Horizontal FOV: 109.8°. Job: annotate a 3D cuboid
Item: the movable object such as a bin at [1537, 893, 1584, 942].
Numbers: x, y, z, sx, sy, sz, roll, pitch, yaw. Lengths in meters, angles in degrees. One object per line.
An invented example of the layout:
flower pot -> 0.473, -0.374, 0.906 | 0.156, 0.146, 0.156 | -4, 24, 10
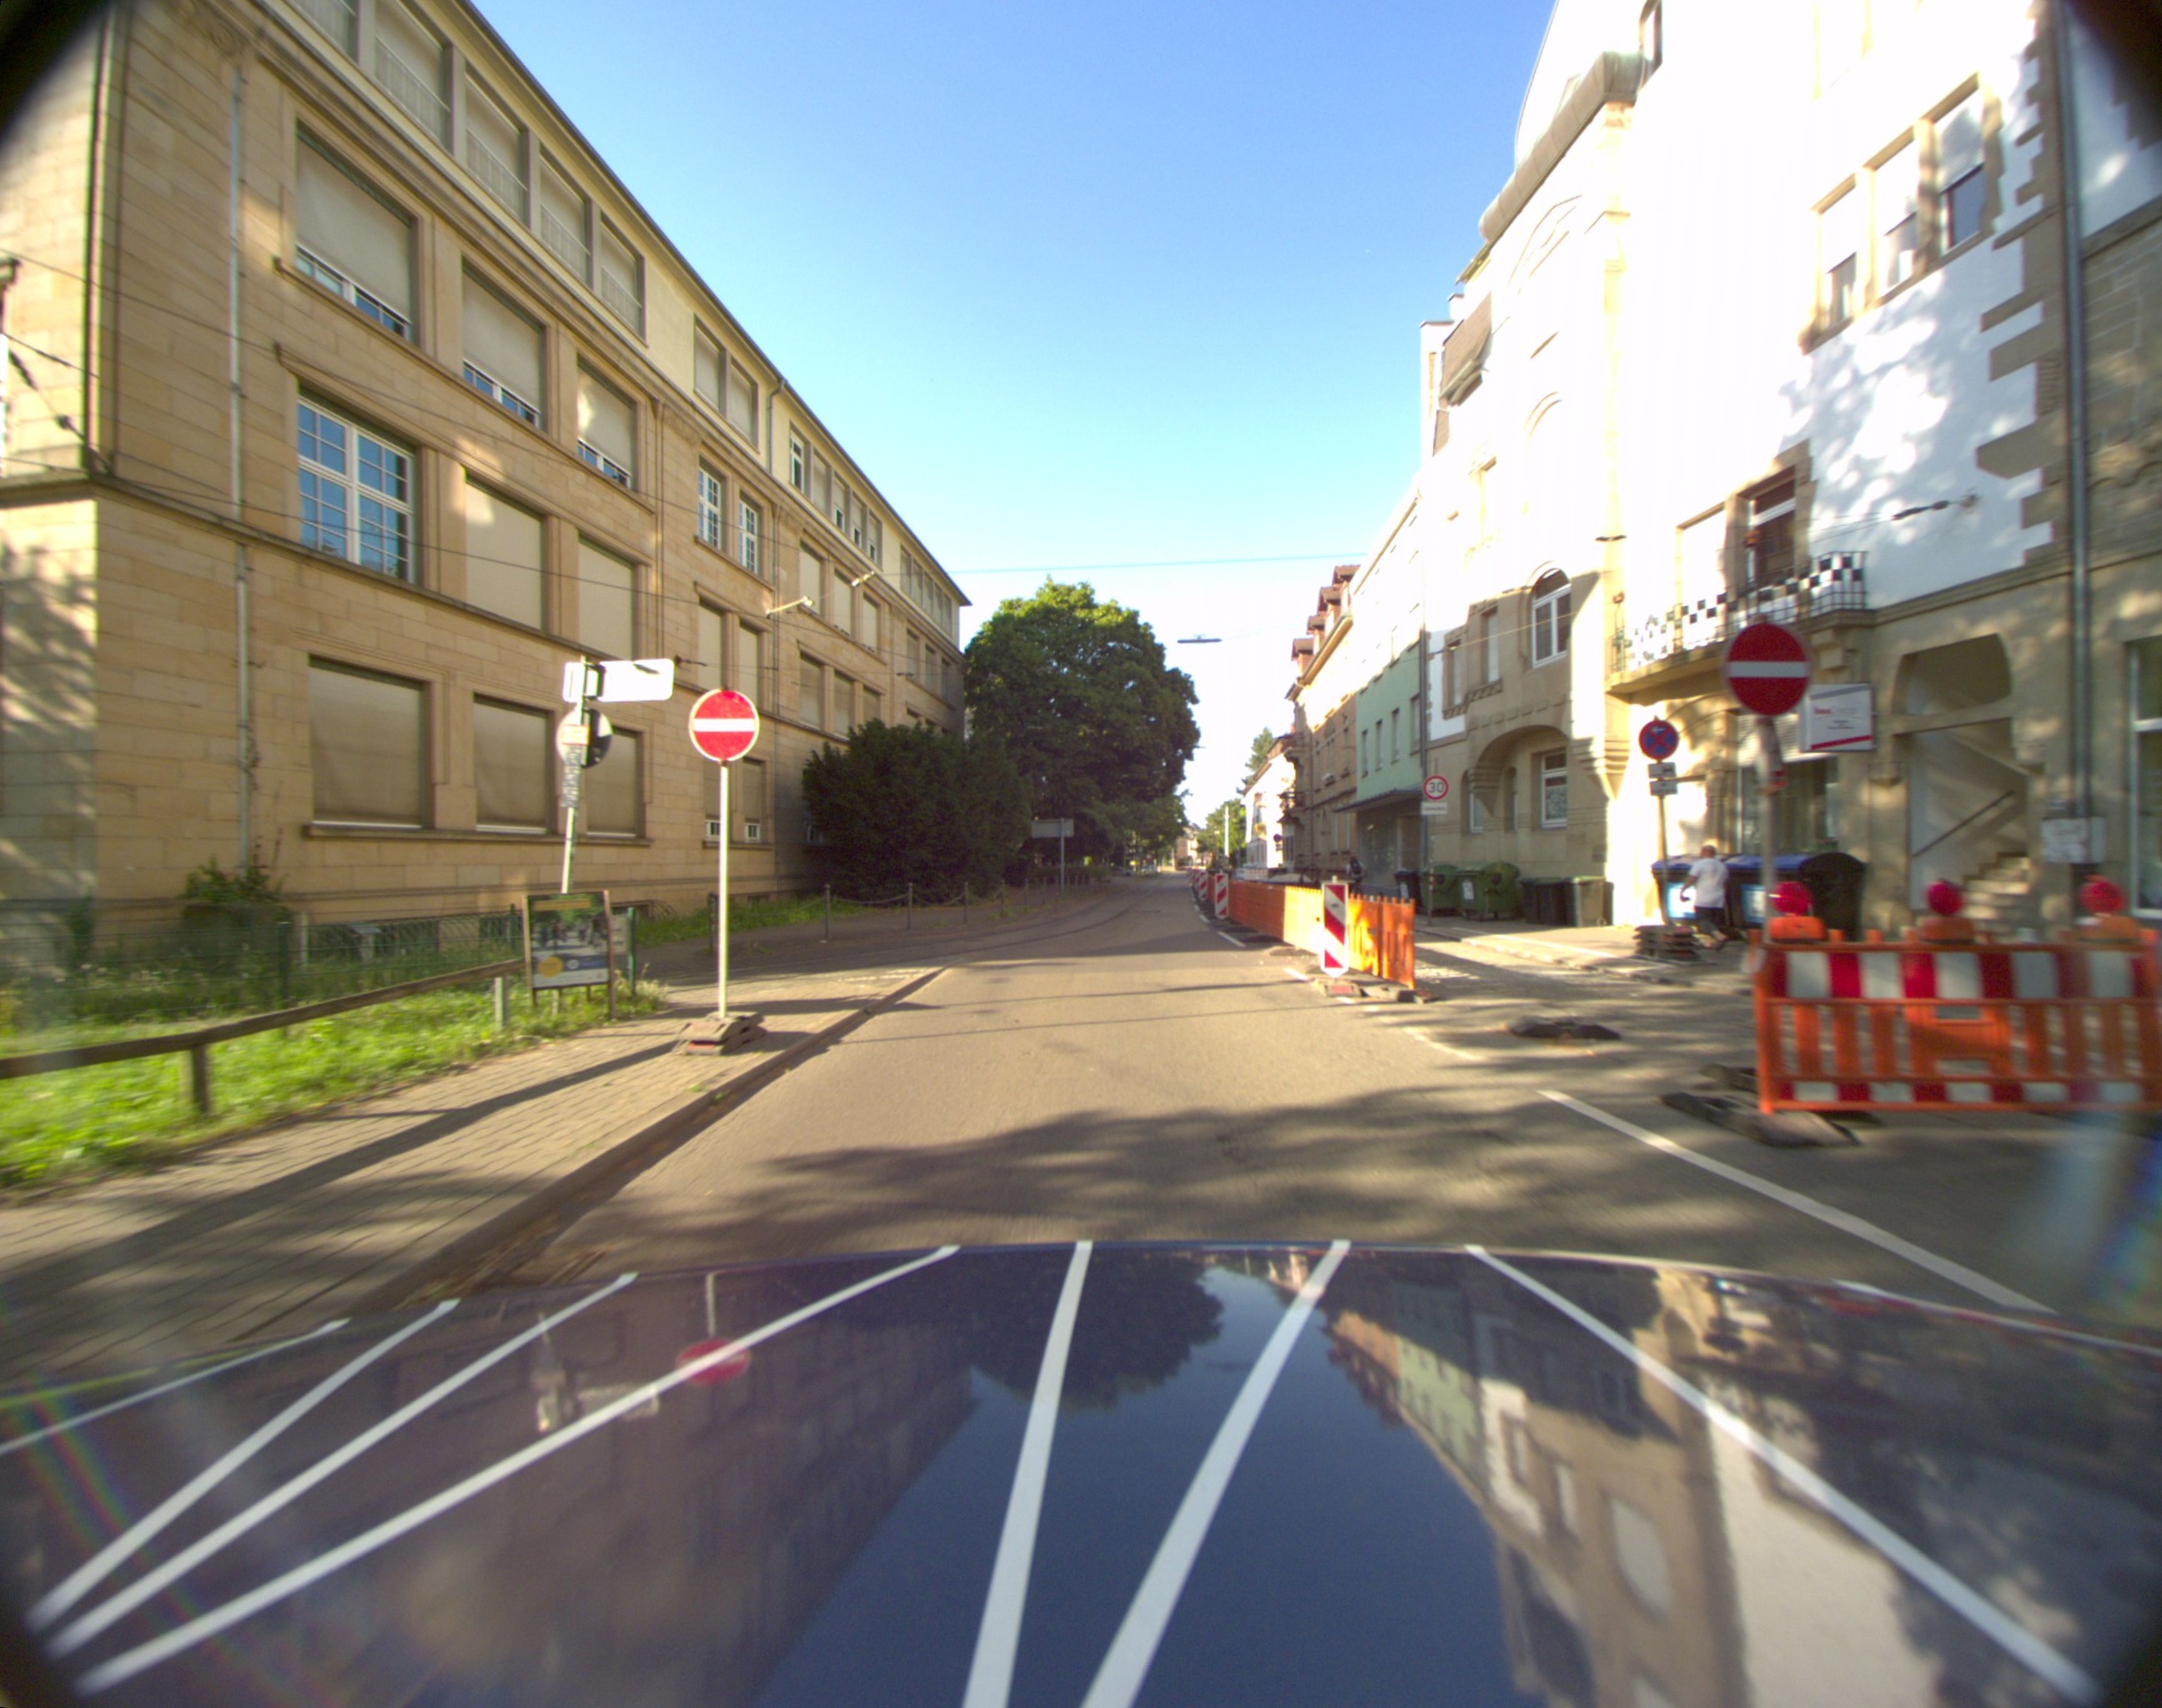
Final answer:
movable object such as a bin -> 10.430, 1.371, 16.540 | 0.638, 1.017, 0.556 | -2, 0, -2

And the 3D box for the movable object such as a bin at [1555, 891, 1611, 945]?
movable object such as a bin -> 10.470, 1.321, 15.866 | 0.638, 1.035, 0.764 | -2, 0, -2

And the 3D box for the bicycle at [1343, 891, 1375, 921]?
bicycle -> 9.585, 1.769, 26.255 | 0.601, 0.926, 1.474 | -2, 0, 3

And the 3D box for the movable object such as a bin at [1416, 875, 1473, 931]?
movable object such as a bin -> 9.889, 1.317, 20.731 | 1.084, 1.422, 1.409 | -2, 0, 14

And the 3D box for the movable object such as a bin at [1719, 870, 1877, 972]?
movable object such as a bin -> 10.907, 0.973, 11.628 | 1.086, 1.422, 1.345 | -2, 0, -7

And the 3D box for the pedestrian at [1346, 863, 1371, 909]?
pedestrian -> 9.563, 1.112, 26.220 | 0.599, 1.547, 0.616 | -2, 0, 3

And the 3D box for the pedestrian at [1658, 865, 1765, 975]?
pedestrian -> 9.670, 0.979, 11.683 | 0.823, 1.594, 0.916 | -2, 0, -10

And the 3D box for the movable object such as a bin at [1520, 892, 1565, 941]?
movable object such as a bin -> 10.387, 1.393, 17.113 | 0.638, 1.035, 0.588 | -2, 0, -2

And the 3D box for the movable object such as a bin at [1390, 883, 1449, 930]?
movable object such as a bin -> 9.872, 1.508, 22.234 | 1.085, 1.256, 1.335 | -2, 0, 0

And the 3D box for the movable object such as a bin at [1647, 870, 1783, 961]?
movable object such as a bin -> 10.839, 1.017, 13.056 | 1.086, 1.422, 1.406 | -2, 0, -7

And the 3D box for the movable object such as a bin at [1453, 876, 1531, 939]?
movable object such as a bin -> 10.051, 1.286, 18.637 | 1.085, 1.422, 1.407 | -2, 0, -2
